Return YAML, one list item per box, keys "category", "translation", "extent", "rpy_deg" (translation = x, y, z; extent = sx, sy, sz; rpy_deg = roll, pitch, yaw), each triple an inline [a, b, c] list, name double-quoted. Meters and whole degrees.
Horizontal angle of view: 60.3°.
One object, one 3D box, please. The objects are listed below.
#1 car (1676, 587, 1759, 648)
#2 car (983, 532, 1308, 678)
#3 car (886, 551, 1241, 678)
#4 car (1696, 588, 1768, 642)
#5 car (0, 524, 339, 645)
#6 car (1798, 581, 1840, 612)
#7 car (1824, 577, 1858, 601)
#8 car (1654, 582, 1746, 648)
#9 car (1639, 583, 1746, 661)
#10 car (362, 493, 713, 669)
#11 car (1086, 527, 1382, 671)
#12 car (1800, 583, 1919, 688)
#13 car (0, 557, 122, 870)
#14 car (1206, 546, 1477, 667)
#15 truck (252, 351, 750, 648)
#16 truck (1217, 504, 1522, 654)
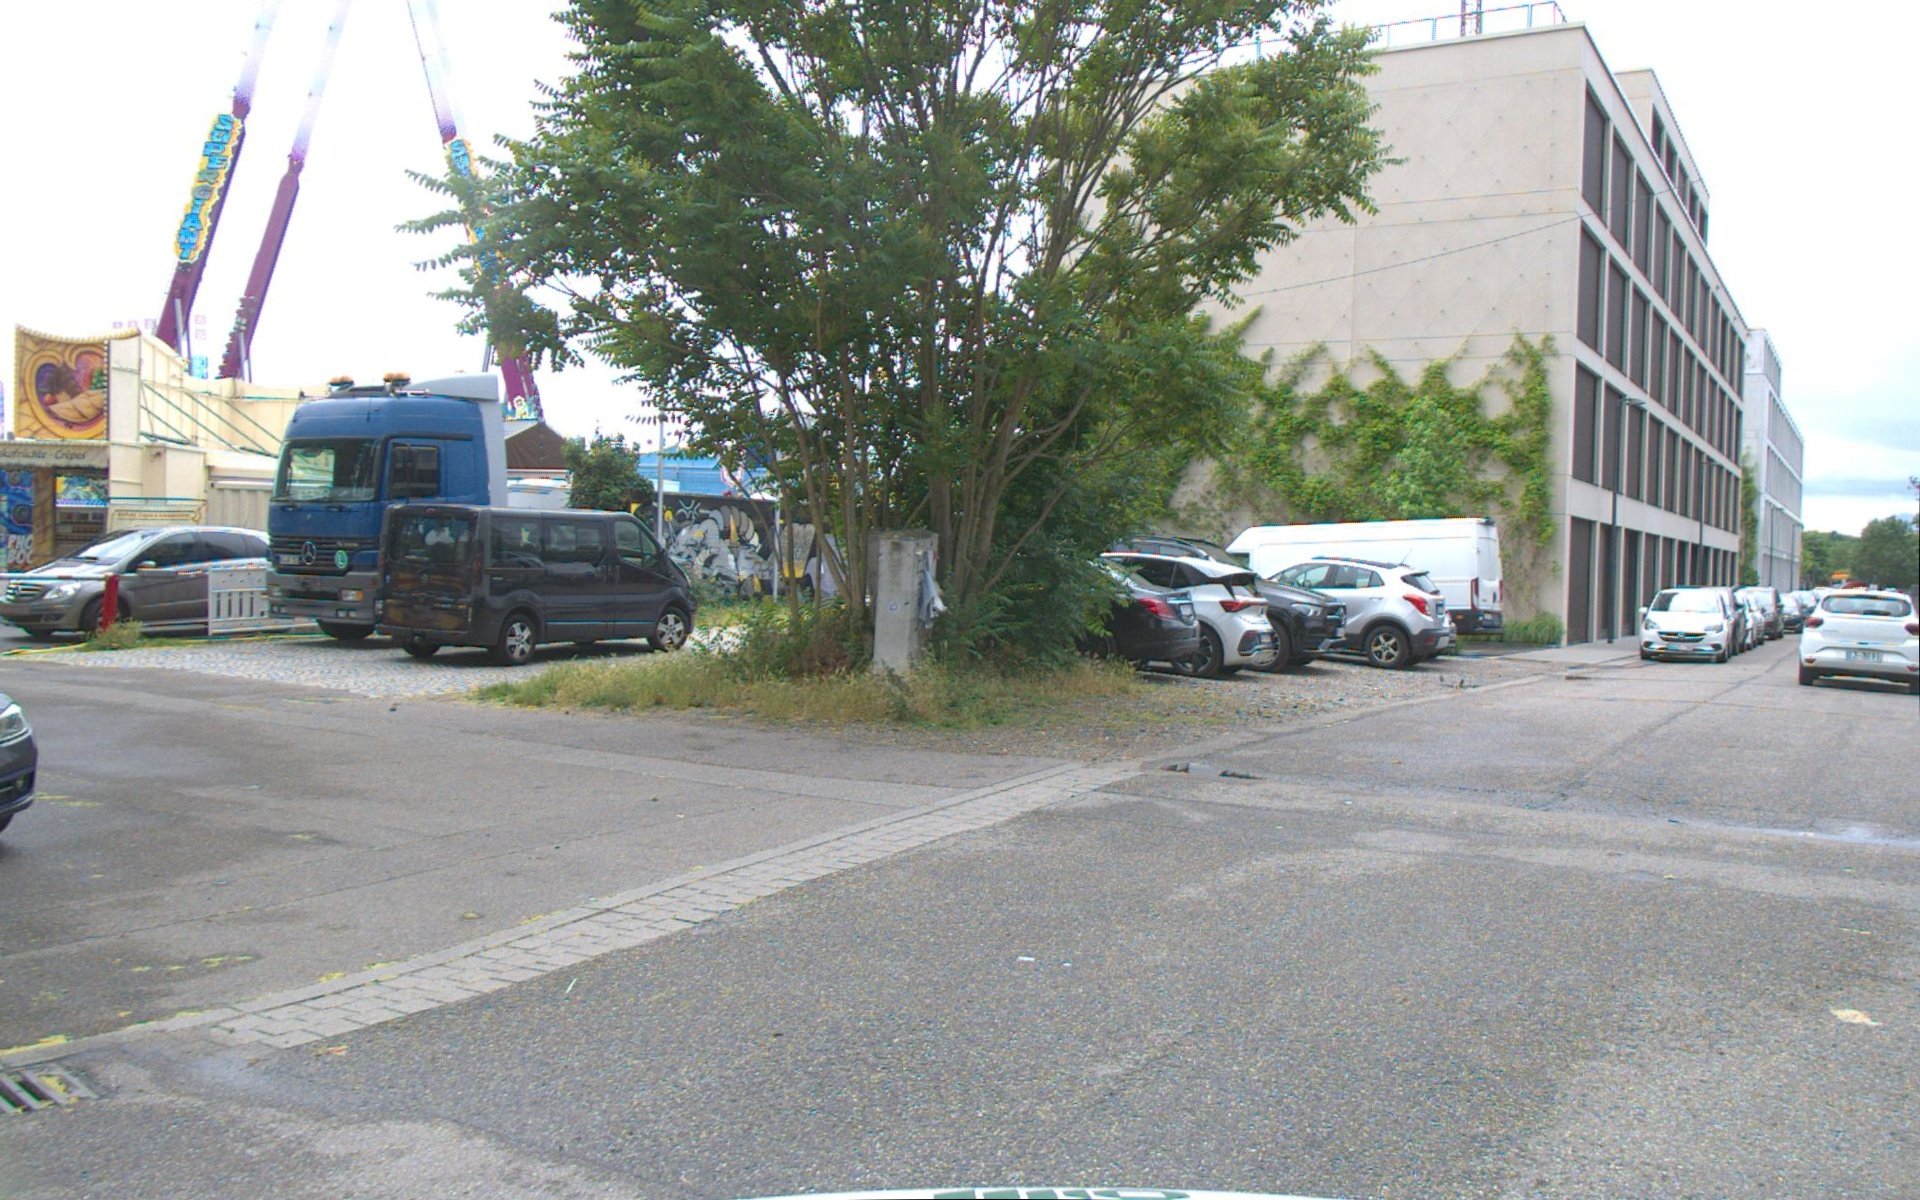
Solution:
- category: "car"
  translation: [20.349, 0.433, 44.345]
  extent: [1.849, 1.478, 3.996]
  rpy_deg: [1, 2, 27]
- category: "car"
  translation: [2.500, 0.020, 22.382]
  extent: [3.912, 1.673, 1.889]
  rpy_deg: [4, 2, 28]
- category: "car"
  translation: [1.264, 0.162, 20.355]
  extent: [3.911, 1.373, 1.889]
  rpy_deg: [2, -1, 28]
- category: "car"
  translation: [23.596, 0.424, 50.464]
  extent: [1.849, 1.478, 3.996]
  rpy_deg: [1, 2, 27]
- category: "car"
  translation: [-11.736, -0.264, 24.519]
  extent: [1.956, 1.603, 4.581]
  rpy_deg: [2, 2, 29]
- category: "car"
  translation: [43.990, -0.186, 84.754]
  extent: [1.849, 1.478, 3.996]
  rpy_deg: [1, 2, 27]
- category: "car"
  translation: [57.402, -0.758, 107.849]
  extent: [1.849, 1.478, 3.996]
  rpy_deg: [1, 2, 27]
- category: "car"
  translation: [18.203, 0.323, 40.621]
  extent: [1.849, 1.478, 3.996]
  rpy_deg: [1, 2, 27]
- category: "car"
  translation: [15.622, 0.412, 35.167]
  extent: [1.849, 1.478, 3.996]
  rpy_deg: [1, 2, 27]
- category: "car"
  translation: [-5.479, -0.330, 22.079]
  extent: [1.956, 2.048, 4.582]
  rpy_deg: [3, 3, 28]
- category: "car"
  translation: [4.051, -0.066, 24.522]
  extent: [3.912, 1.911, 1.889]
  rpy_deg: [2, 2, 29]
- category: "car"
  translation: [14.515, 0.506, 26.404]
  extent: [1.850, 1.478, 3.994]
  rpy_deg: [2, 2, 29]
- category: "car"
  translation: [-6.360, 0.491, 8.317]
  extent: [3.909, 1.455, 1.868]
  rpy_deg: [2, 1, 26]
- category: "car"
  translation: [6.223, 0.066, 27.006]
  extent: [3.912, 1.673, 1.889]
  rpy_deg: [4, 2, 28]
- category: "truck"
  translation: [-6.760, -1.410, 25.940]
  extent: [2.542, 3.888, 8.205]
  rpy_deg: [1, 2, 28]
- category: "truck"
  translation: [8.468, -0.512, 34.503]
  extent: [5.736, 2.775, 2.049]
  rpy_deg: [4, 2, 33]
